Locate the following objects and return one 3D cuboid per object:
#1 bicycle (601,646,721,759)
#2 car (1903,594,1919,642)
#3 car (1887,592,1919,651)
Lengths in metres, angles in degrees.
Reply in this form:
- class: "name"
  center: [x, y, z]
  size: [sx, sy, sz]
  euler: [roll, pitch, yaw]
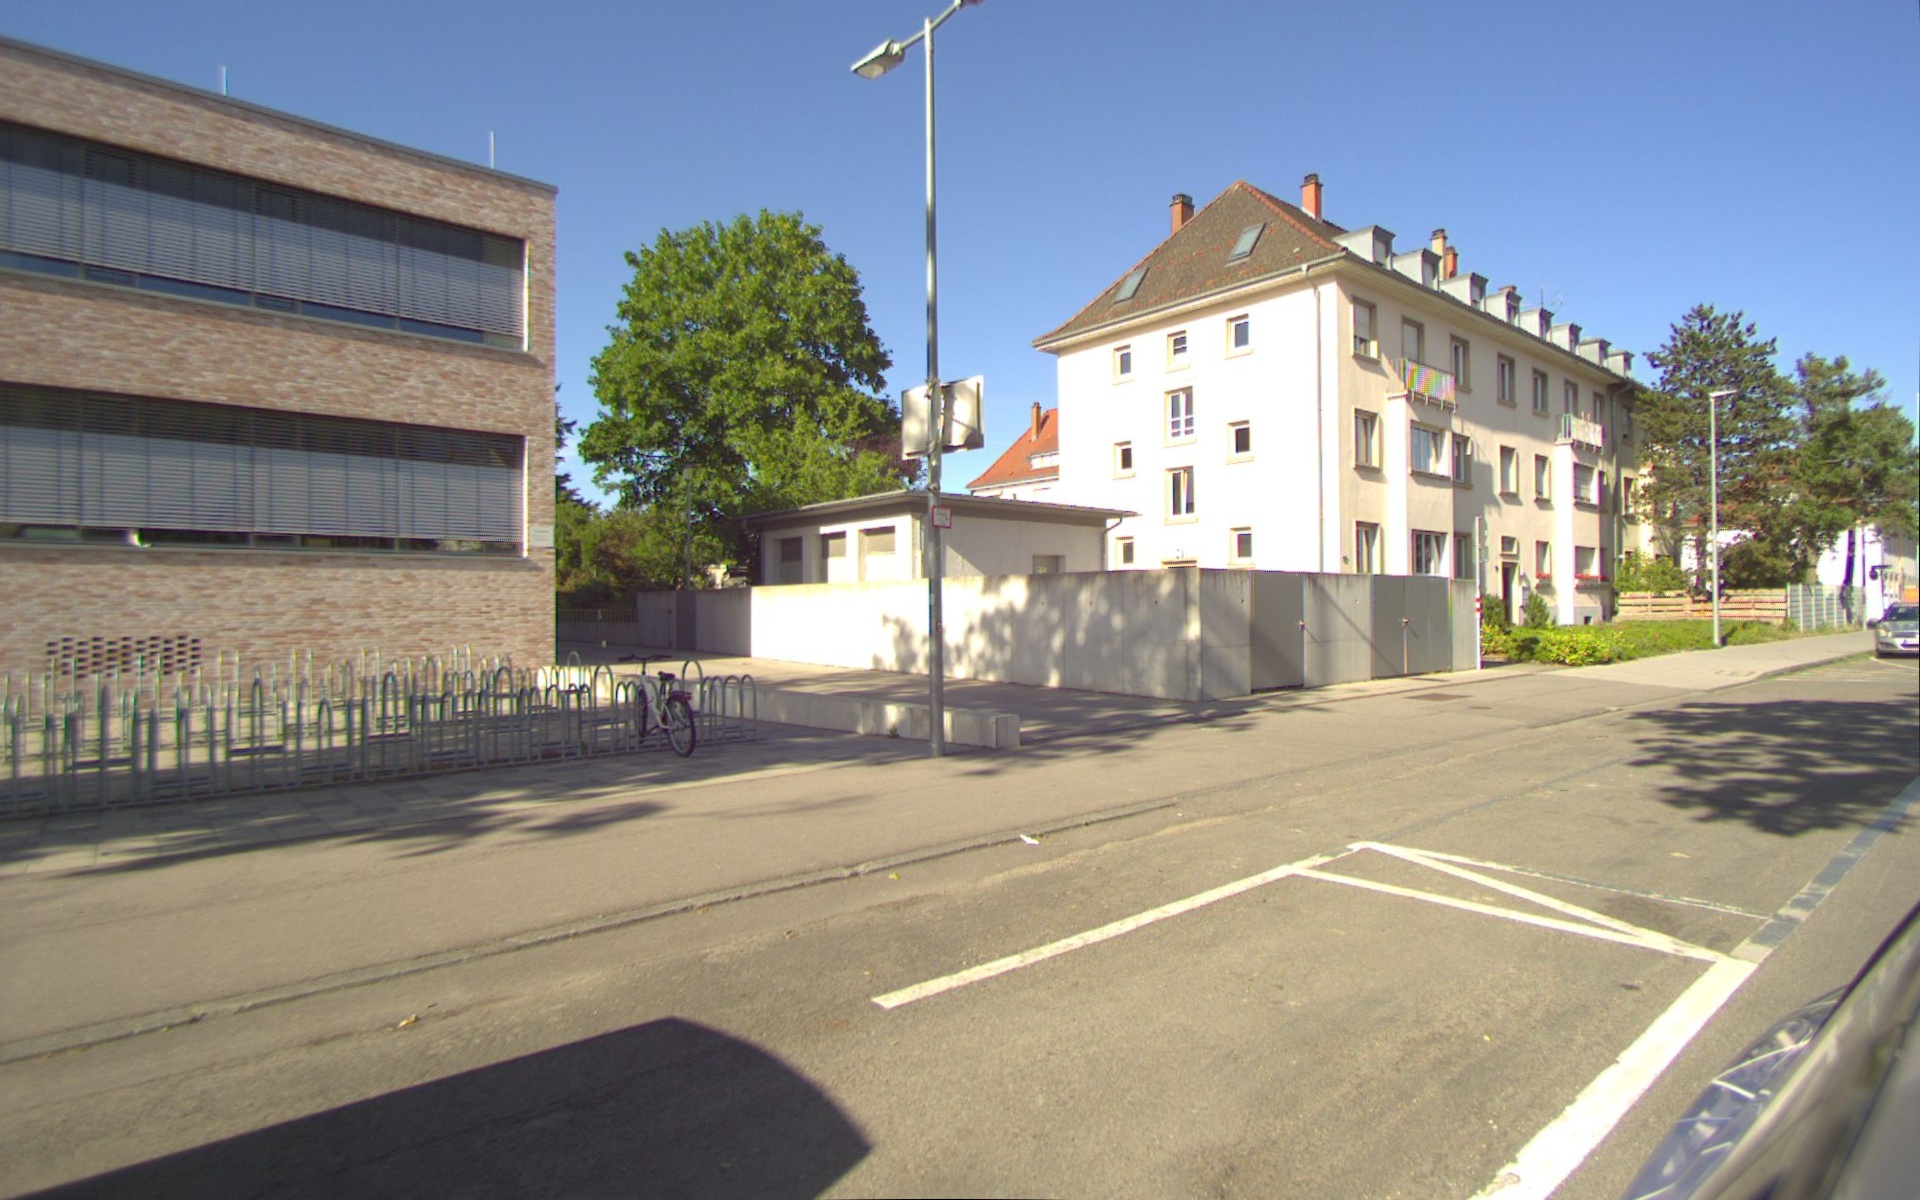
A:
- class: "bicycle"
  center: [-3.066, 1.000, 10.280]
  size: [0.491, 1.043, 1.670]
  euler: [0, -2, -42]
- class: "car"
  center: [30.667, 0.502, 31.209]
  size: [4.213, 1.439, 1.797]
  euler: [0, -2, -41]
- class: "car"
  center: [25.976, 0.533, 26.925]
  size: [4.339, 1.484, 1.660]
  euler: [0, -2, -45]
